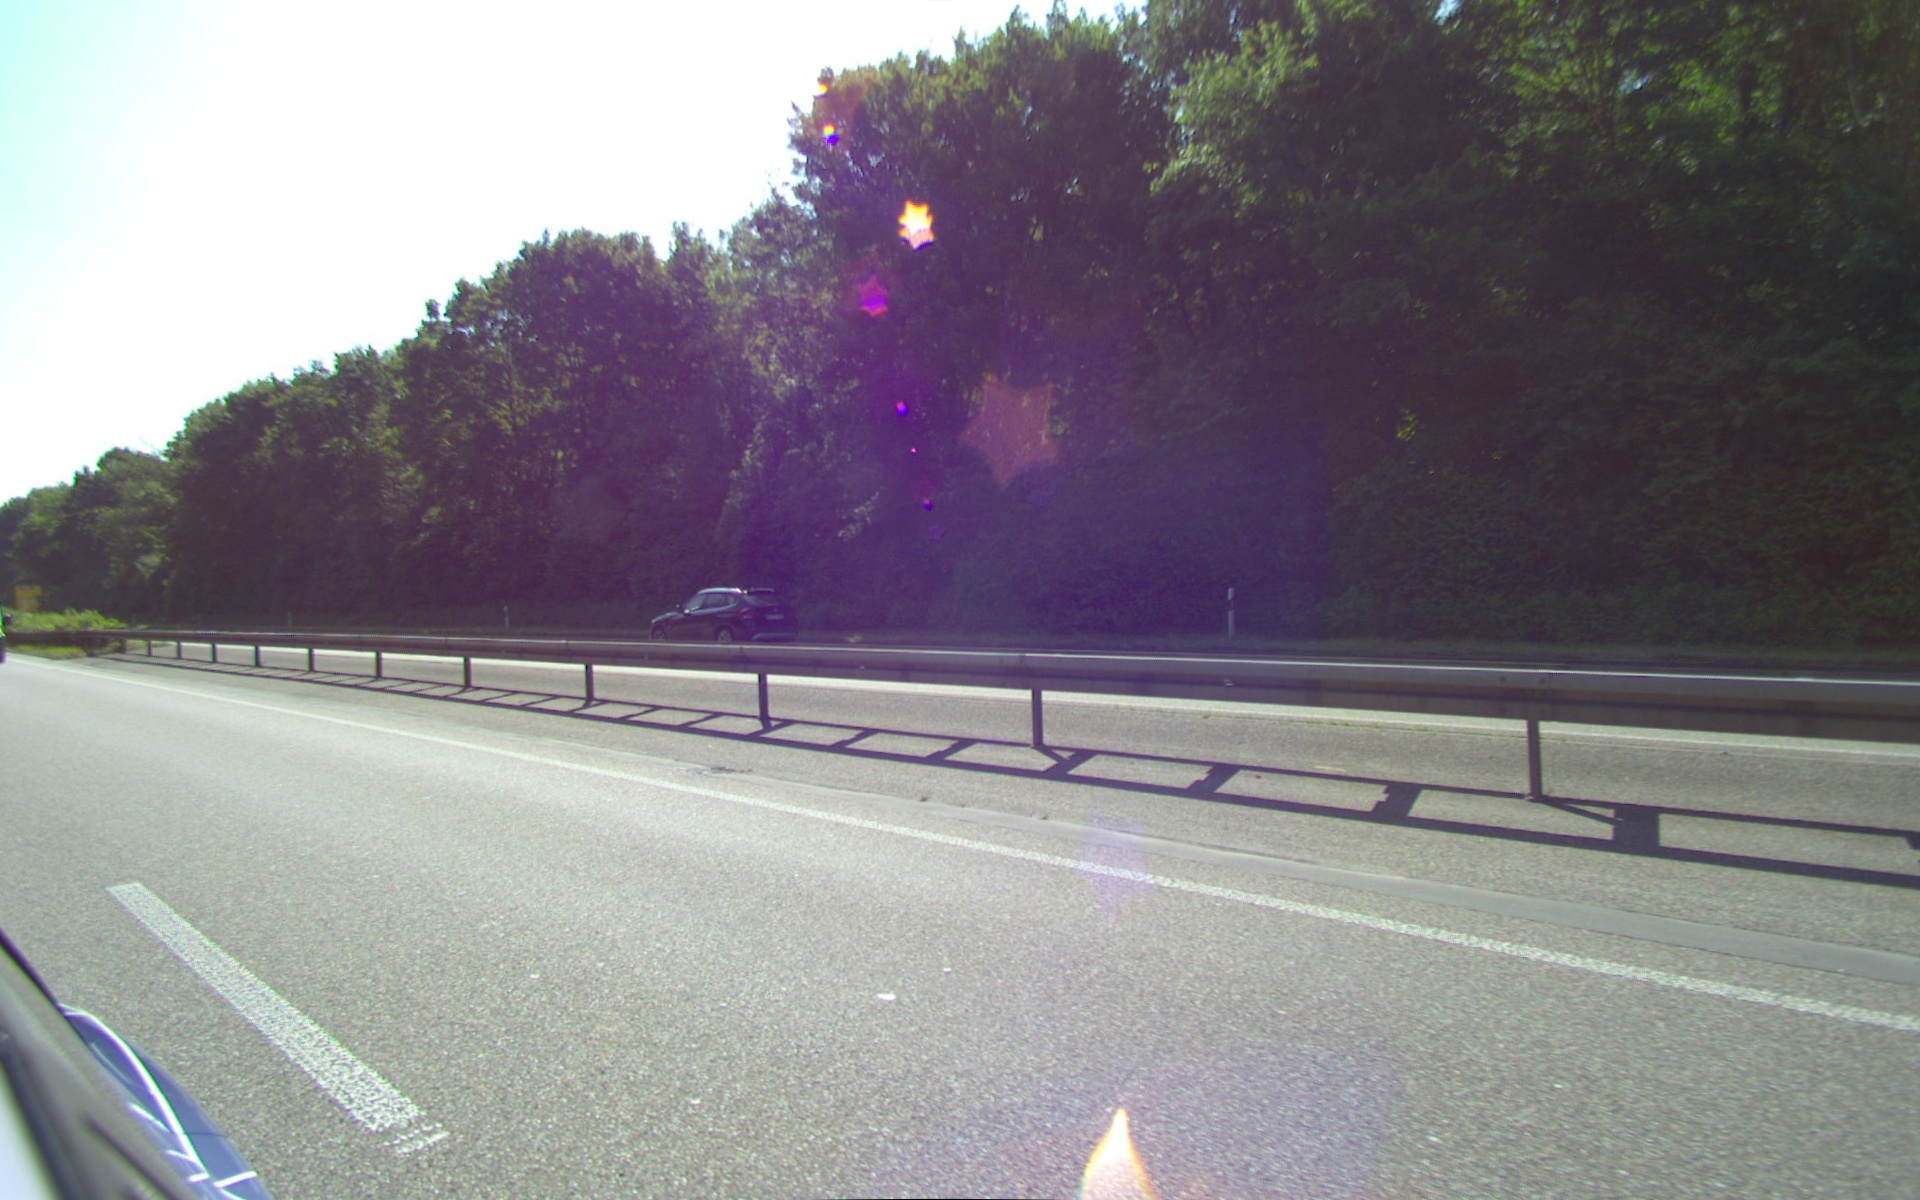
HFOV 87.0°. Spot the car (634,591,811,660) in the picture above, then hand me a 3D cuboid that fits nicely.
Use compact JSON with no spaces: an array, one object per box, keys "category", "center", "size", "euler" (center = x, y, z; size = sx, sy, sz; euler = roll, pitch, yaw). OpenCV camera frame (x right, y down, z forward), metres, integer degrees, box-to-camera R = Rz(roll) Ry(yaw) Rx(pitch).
[{"category":"car","center":[-5.829,0.588,24.557],"size":[4.547,1.521,1.824],"euler":[-1,0,40]}]

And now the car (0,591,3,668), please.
[{"category":"car","center":[-33.037,0.996,33.121],"size":[4.635,2.462,2.020],"euler":[-1,0,41]}]

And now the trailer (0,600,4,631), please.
[{"category":"trailer","center":[-119.247,1.988,123.808],"size":[7.982,3.740,2.660],"euler":[-1,0,42]}]
